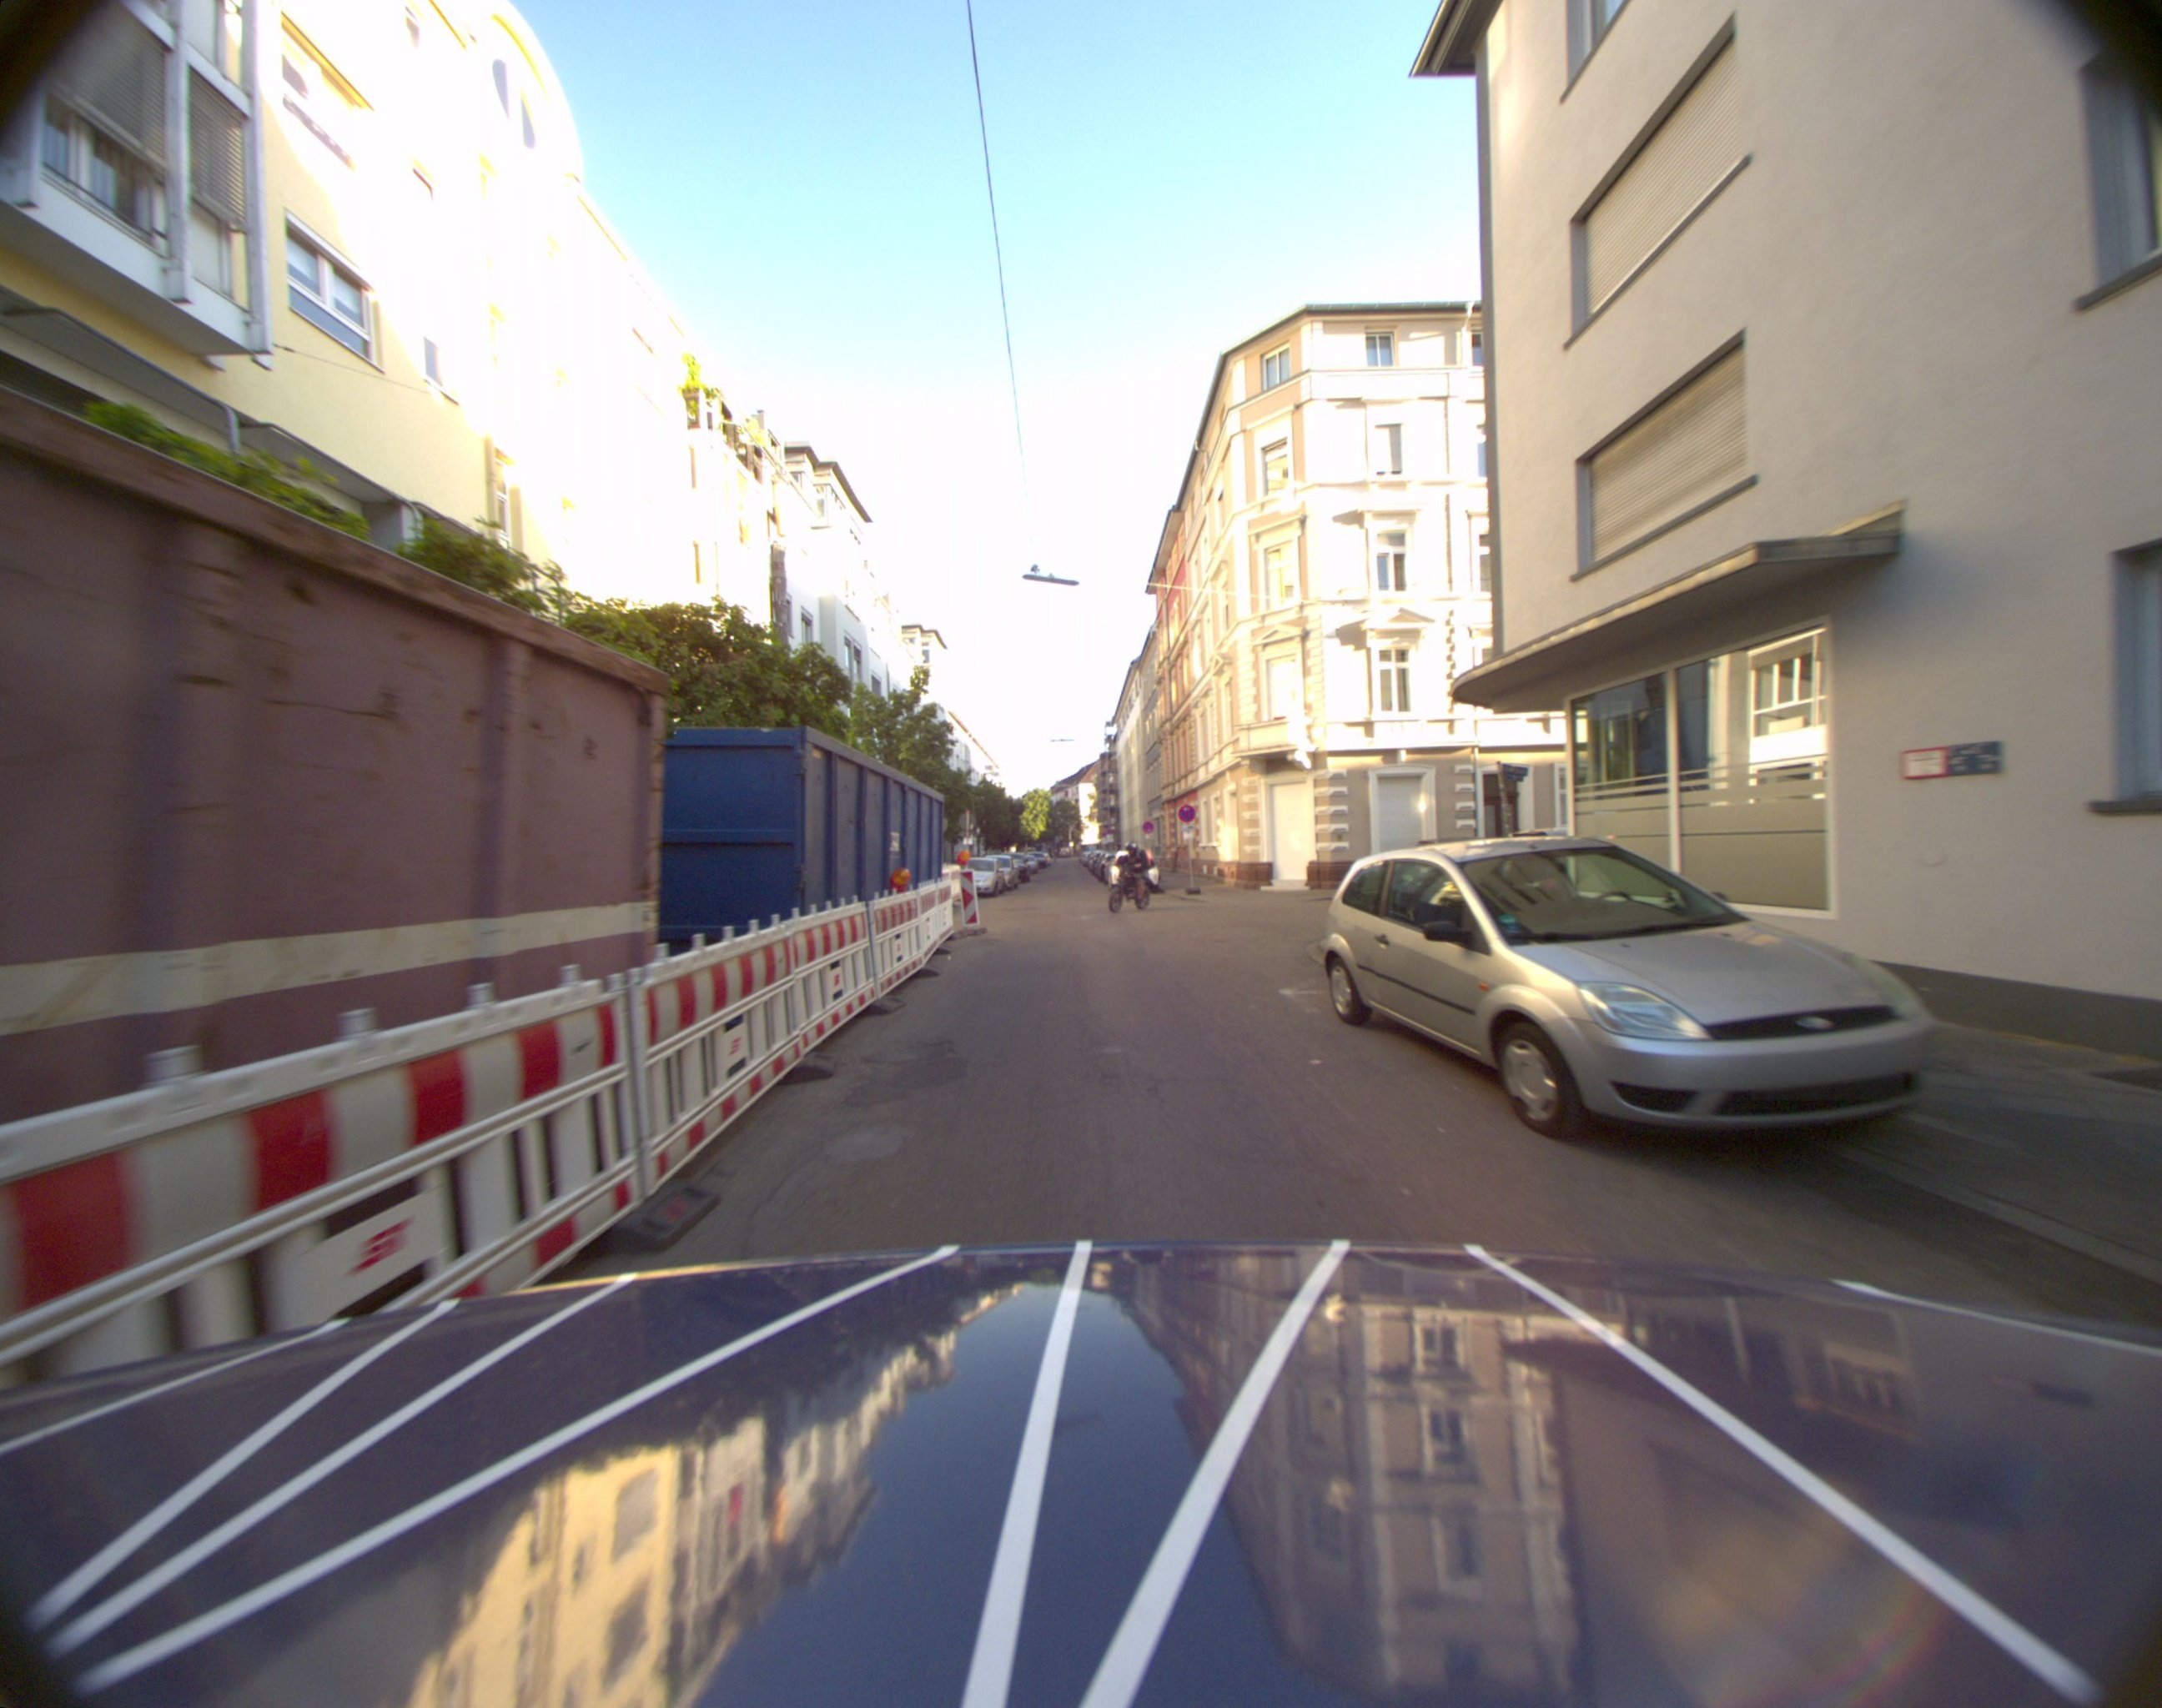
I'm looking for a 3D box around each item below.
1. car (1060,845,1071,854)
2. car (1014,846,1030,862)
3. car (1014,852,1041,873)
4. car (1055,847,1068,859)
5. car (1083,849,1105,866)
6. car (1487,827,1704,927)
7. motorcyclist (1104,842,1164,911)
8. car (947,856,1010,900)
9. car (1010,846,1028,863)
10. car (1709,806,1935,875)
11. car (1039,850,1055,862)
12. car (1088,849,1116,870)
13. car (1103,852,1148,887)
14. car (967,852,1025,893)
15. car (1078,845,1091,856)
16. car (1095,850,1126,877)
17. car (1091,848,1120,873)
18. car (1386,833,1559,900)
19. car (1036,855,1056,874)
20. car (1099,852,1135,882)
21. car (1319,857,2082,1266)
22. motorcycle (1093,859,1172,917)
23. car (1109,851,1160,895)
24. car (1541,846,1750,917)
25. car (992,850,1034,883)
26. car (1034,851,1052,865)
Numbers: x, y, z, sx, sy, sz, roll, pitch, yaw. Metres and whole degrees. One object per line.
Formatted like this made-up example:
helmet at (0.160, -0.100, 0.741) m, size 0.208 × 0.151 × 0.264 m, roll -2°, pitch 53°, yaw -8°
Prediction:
car at (-3.206, -1.000, 158.543) m, size 1.999 × 1.783 × 3.999 m, roll -3°, pitch 1°, yaw -1°
car at (-7.895, -0.039, 101.964) m, size 1.999 × 2.002 × 3.999 m, roll -3°, pitch 1°, yaw -2°
car at (-4.102, 0.618, 58.863) m, size 1.856 × 1.480 × 3.999 m, roll -3°, pitch 1°, yaw -2°
car at (-3.137, -0.164, 122.042) m, size 1.999 × 1.783 × 3.999 m, roll -3°, pitch 1°, yaw -1°
car at (1.275, 0.296, 75.738) m, size 1.999 × 1.566 × 4.148 m, roll -3°, pitch 1°, yaw -1°
car at (9.174, 0.383, 13.726) m, size 2.762 × 1.557 × 1.648 m, roll -3°, pitch 1°, yaw 0°
motorcyclist at (1.260, 0.542, 18.027) m, size 1.001 × 1.558 × 0.872 m, roll -3°, pitch -1°, yaw -39°
car at (-3.829, 0.859, 28.938) m, size 1.638 × 1.439 × 4.066 m, roll -3°, pitch 1°, yaw 2°
car at (-7.916, 0.076, 97.475) m, size 1.999 × 2.002 × 3.999 m, roll -3°, pitch 1°, yaw -2°
car at (19.459, -0.349, 20.087) m, size 4.091 × 1.551 × 2.008 m, roll -3°, pitch 1°, yaw -3°
car at (-4.236, 0.234, 95.560) m, size 1.856 × 1.480 × 3.999 m, roll -3°, pitch 1°, yaw -2°
car at (1.527, 0.390, 56.001) m, size 1.662 × 1.421 × 4.352 m, roll -3°, pitch 1°, yaw -2°
car at (1.905, 0.634, 33.507) m, size 1.614 × 1.420 × 3.961 m, roll 0°, pitch 1°, yaw -2°
car at (-3.700, 0.778, 33.665) m, size 1.912 × 1.576 × 4.000 m, roll -3°, pitch 1°, yaw 2°
car at (0.546, -0.560, 128.652) m, size 1.999 × 1.783 × 3.999 m, roll -3°, pitch 1°, yaw -1°
car at (1.699, 0.513, 45.061) m, size 1.537 × 1.490 × 4.194 m, roll -1°, pitch 1°, yaw -2°
car at (1.581, 0.380, 50.068) m, size 1.597 × 1.513 × 4.428 m, roll -3°, pitch 1°, yaw -1°
car at (10.032, 0.303, 19.609) m, size 3.589 × 1.471 × 1.686 m, roll -3°, pitch 1°, yaw -6°
car at (-3.473, 1.034, 75.493) m, size 1.856 × 1.649 × 3.998 m, roll -3°, pitch 1°, yaw -3°
car at (1.794, 0.625, 38.934) m, size 1.589 × 1.407 × 3.911 m, roll 1°, pitch 1°, yaw -1°
car at (2.941, 0.787, 4.662) m, size 1.637 × 1.422 × 3.553 m, roll -3°, pitch 1°, yaw -3°
motorcycle at (1.228, 0.786, 17.992) m, size 1.701 × 1.242 × 0.805 m, roll -3°, pitch -1°, yaw -40°
car at (1.951, 0.655, 28.547) m, size 1.688 × 1.487 × 3.844 m, roll 1°, pitch 1°, yaw 1°
car at (14.528, 0.669, 19.699) m, size 4.091 × 1.551 × 1.834 m, roll -3°, pitch 1°, yaw -4°
car at (-3.754, 0.650, 42.617) m, size 1.863 × 1.679 × 4.390 m, roll -3°, pitch 1°, yaw 1°
car at (-4.380, 0.404, 87.805) m, size 1.903 × 1.510 × 4.222 m, roll -3°, pitch 1°, yaw -2°
